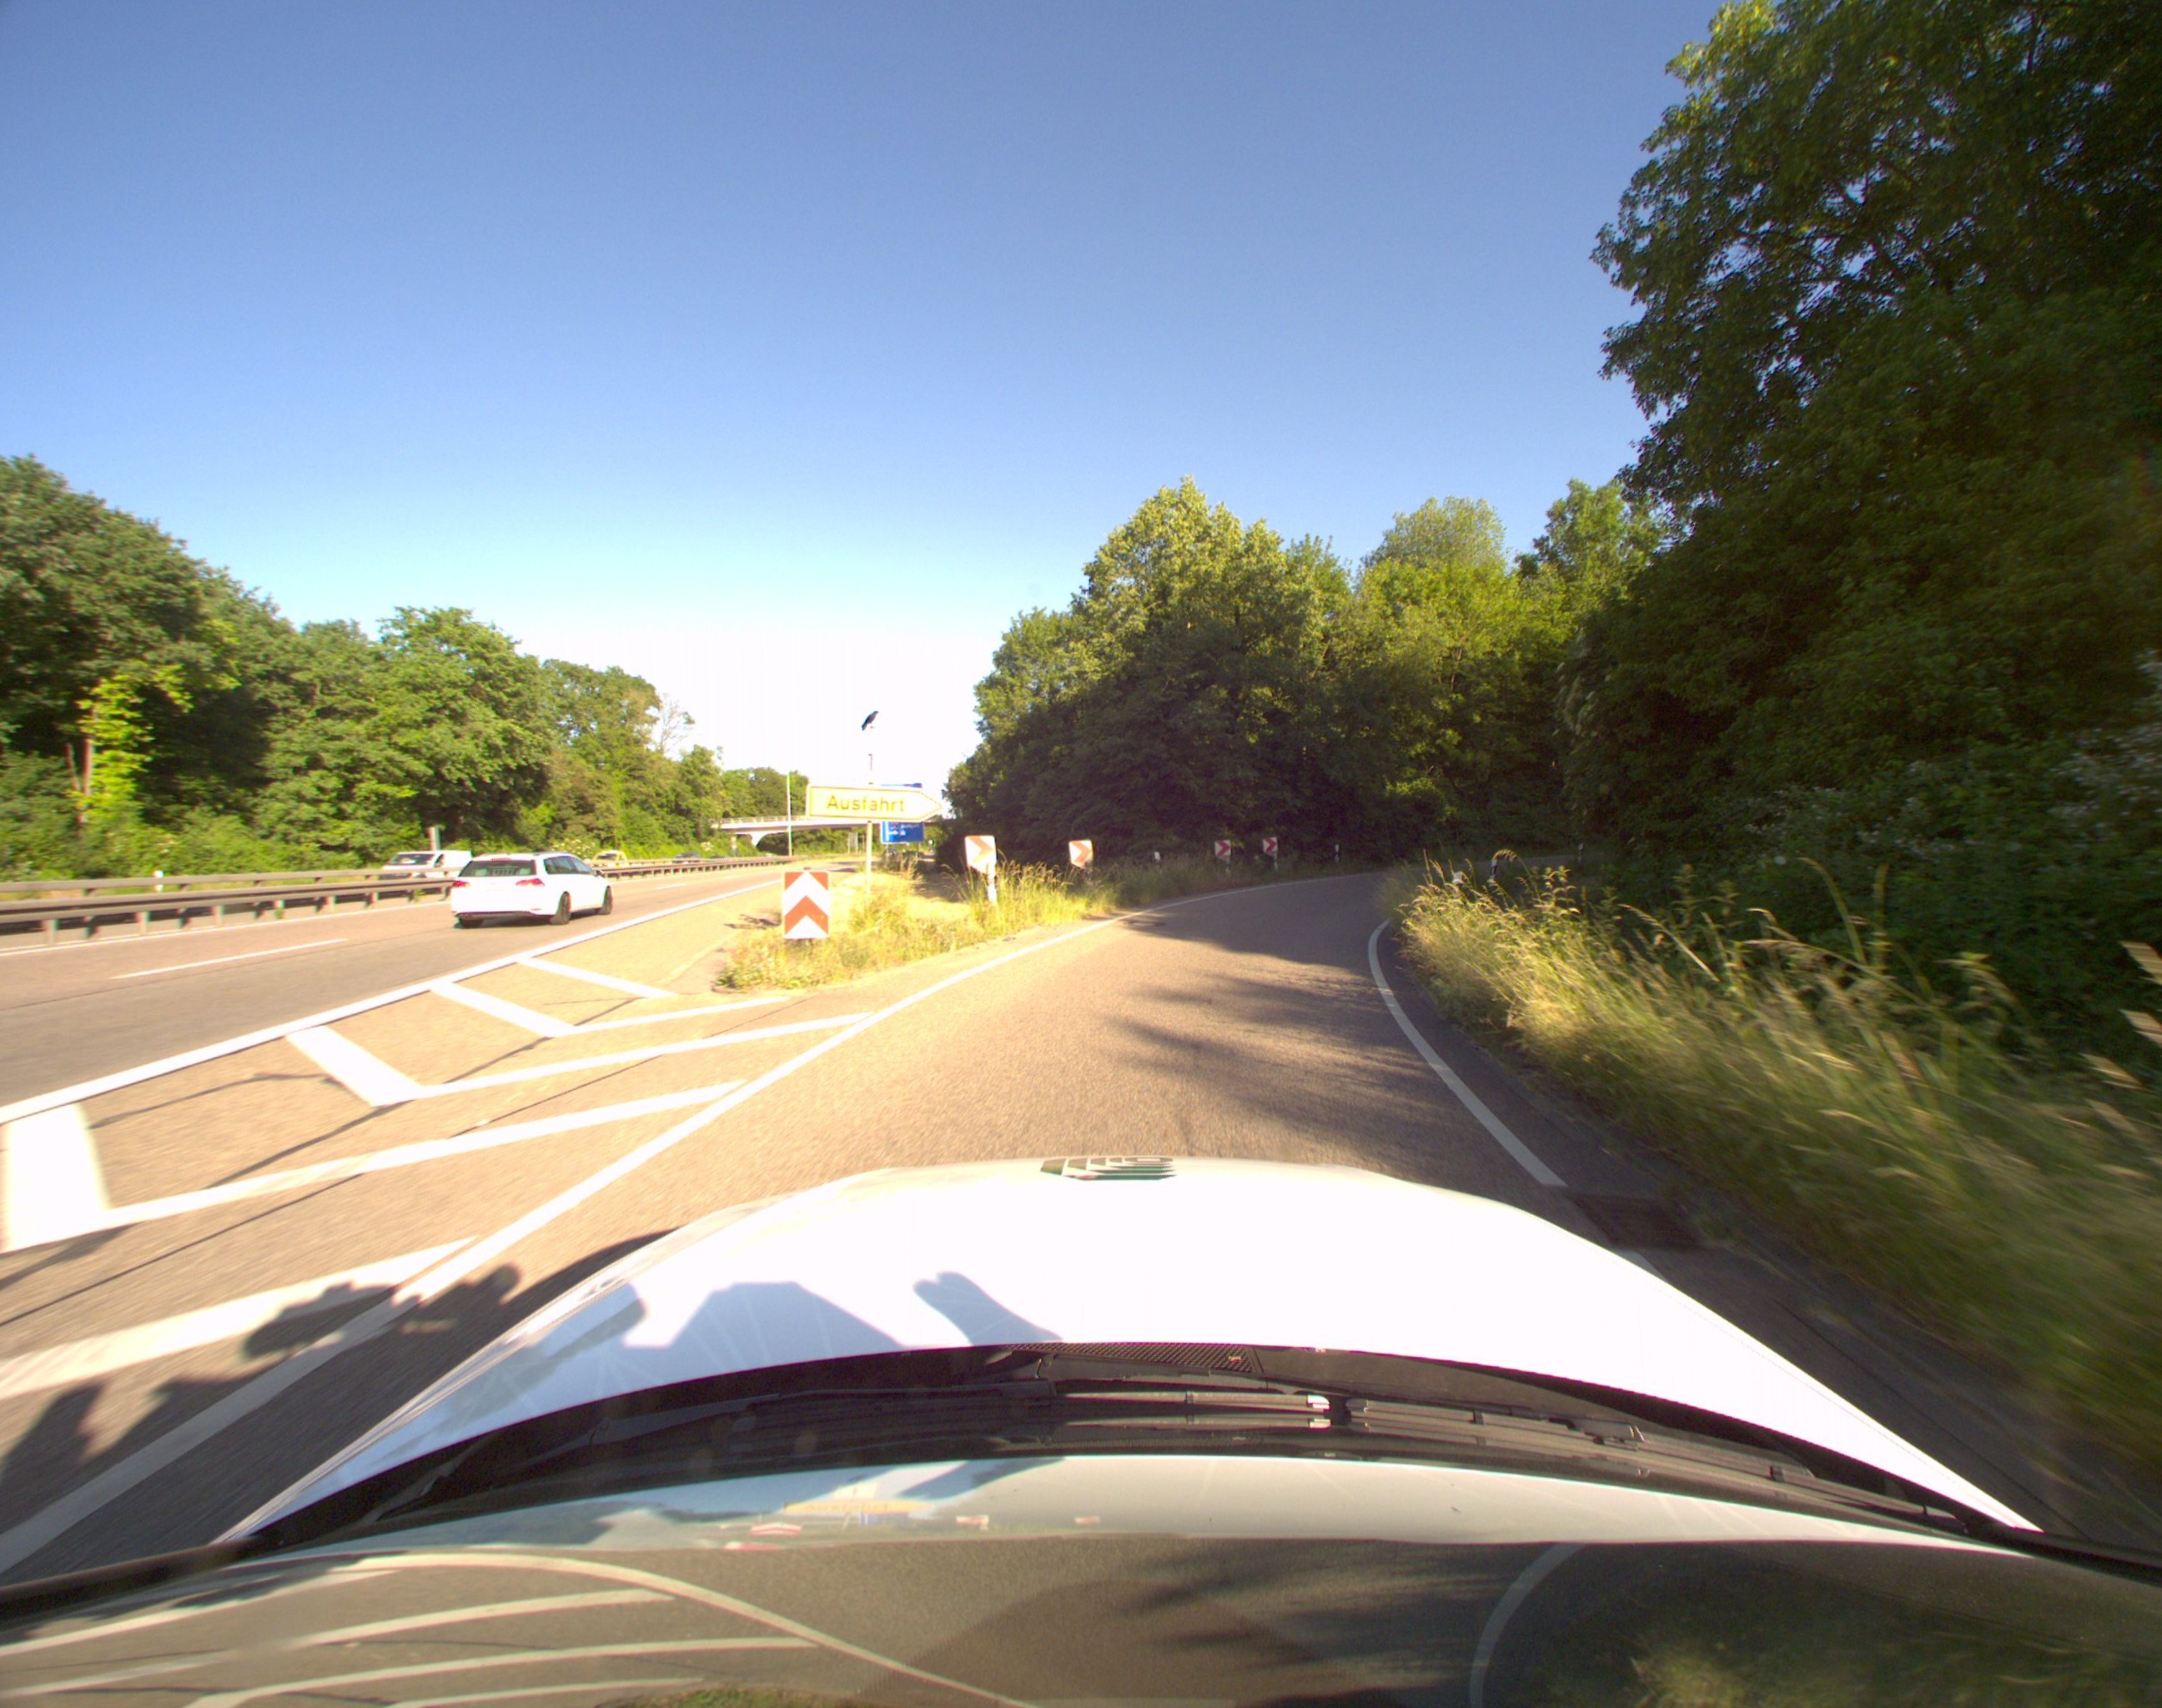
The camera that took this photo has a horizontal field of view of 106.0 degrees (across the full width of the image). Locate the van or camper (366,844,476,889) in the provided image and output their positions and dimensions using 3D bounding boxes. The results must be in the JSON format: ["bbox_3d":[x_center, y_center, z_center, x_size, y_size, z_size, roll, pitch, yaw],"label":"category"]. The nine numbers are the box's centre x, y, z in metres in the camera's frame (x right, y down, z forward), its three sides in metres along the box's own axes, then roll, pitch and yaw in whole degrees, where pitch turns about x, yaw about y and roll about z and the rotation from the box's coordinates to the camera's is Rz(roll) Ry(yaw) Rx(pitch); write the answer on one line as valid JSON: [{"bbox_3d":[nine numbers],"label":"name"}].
[{"bbox_3d":[-31.659,0.563,39.284,2.075,2.013,4.799,-2,0,-11],"label":"van or camper"}]

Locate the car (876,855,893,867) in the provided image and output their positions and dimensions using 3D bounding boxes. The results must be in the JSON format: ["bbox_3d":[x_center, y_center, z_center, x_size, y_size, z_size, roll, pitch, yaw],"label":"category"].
[{"bbox_3d":[-28.446,0.943,118.167,1.735,1.662,3.940,-1,0,-4],"label":"car"}]

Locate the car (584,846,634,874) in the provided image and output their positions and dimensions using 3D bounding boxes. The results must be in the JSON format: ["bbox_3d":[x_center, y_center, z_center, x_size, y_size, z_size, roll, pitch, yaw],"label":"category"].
[{"bbox_3d":[-36.133,0.416,62.414,1.994,2.013,3.986,-1,0,-10],"label":"car"}]

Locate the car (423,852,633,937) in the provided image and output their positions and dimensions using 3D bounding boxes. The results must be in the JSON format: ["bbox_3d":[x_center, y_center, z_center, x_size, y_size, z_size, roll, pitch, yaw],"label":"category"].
[{"bbox_3d":[-11.525,0.726,17.521,1.932,1.508,5.571,0,0,-14],"label":"car"}]
